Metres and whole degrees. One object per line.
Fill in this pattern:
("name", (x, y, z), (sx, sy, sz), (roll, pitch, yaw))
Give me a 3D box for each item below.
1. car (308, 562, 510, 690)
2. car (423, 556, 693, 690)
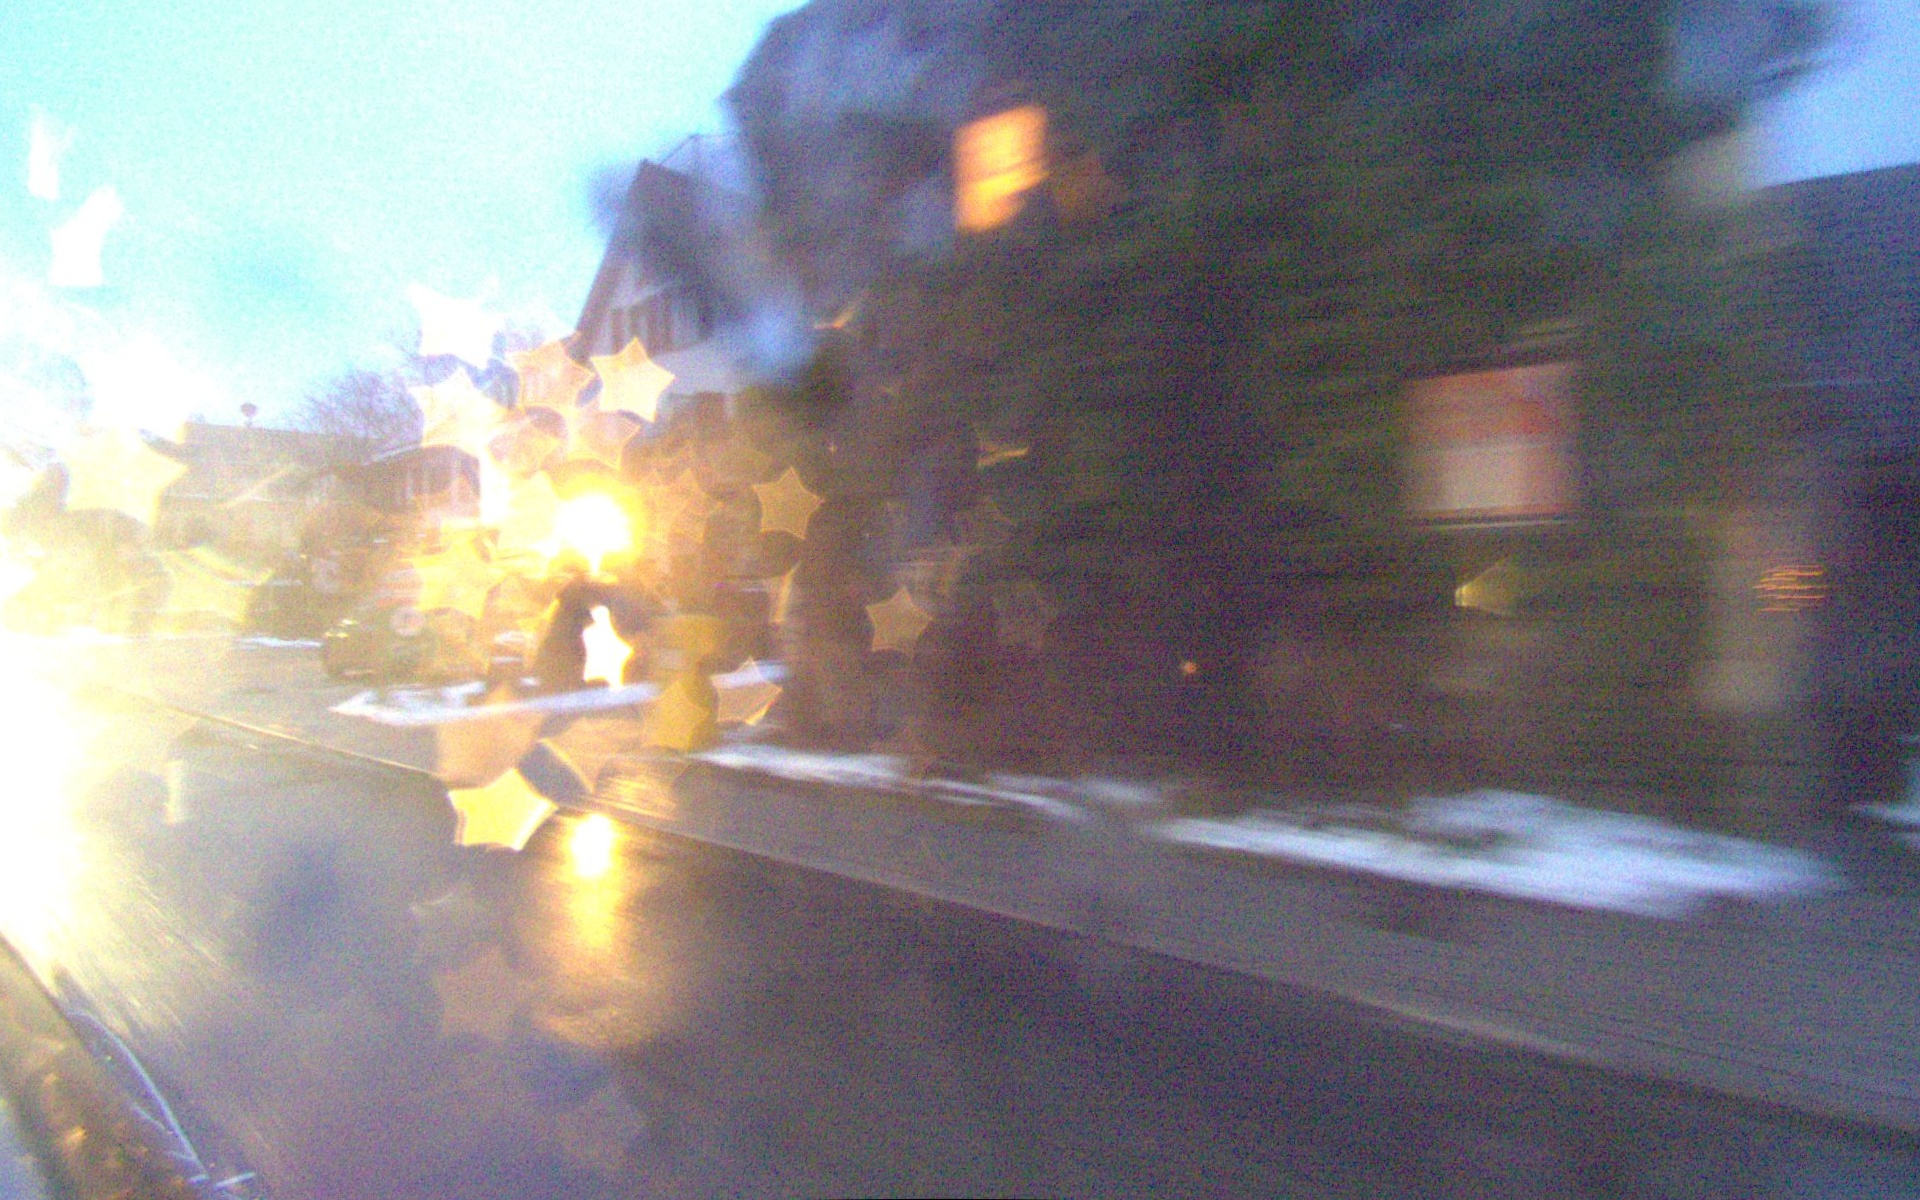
("car", (-10.449, 0.432, 19.088), (4.080, 2.052, 1.973), (-1, 4, 42))
("car", (-6.787, 0.344, 17.381), (1.757, 2.029, 3.946), (-1, 0, 41))
